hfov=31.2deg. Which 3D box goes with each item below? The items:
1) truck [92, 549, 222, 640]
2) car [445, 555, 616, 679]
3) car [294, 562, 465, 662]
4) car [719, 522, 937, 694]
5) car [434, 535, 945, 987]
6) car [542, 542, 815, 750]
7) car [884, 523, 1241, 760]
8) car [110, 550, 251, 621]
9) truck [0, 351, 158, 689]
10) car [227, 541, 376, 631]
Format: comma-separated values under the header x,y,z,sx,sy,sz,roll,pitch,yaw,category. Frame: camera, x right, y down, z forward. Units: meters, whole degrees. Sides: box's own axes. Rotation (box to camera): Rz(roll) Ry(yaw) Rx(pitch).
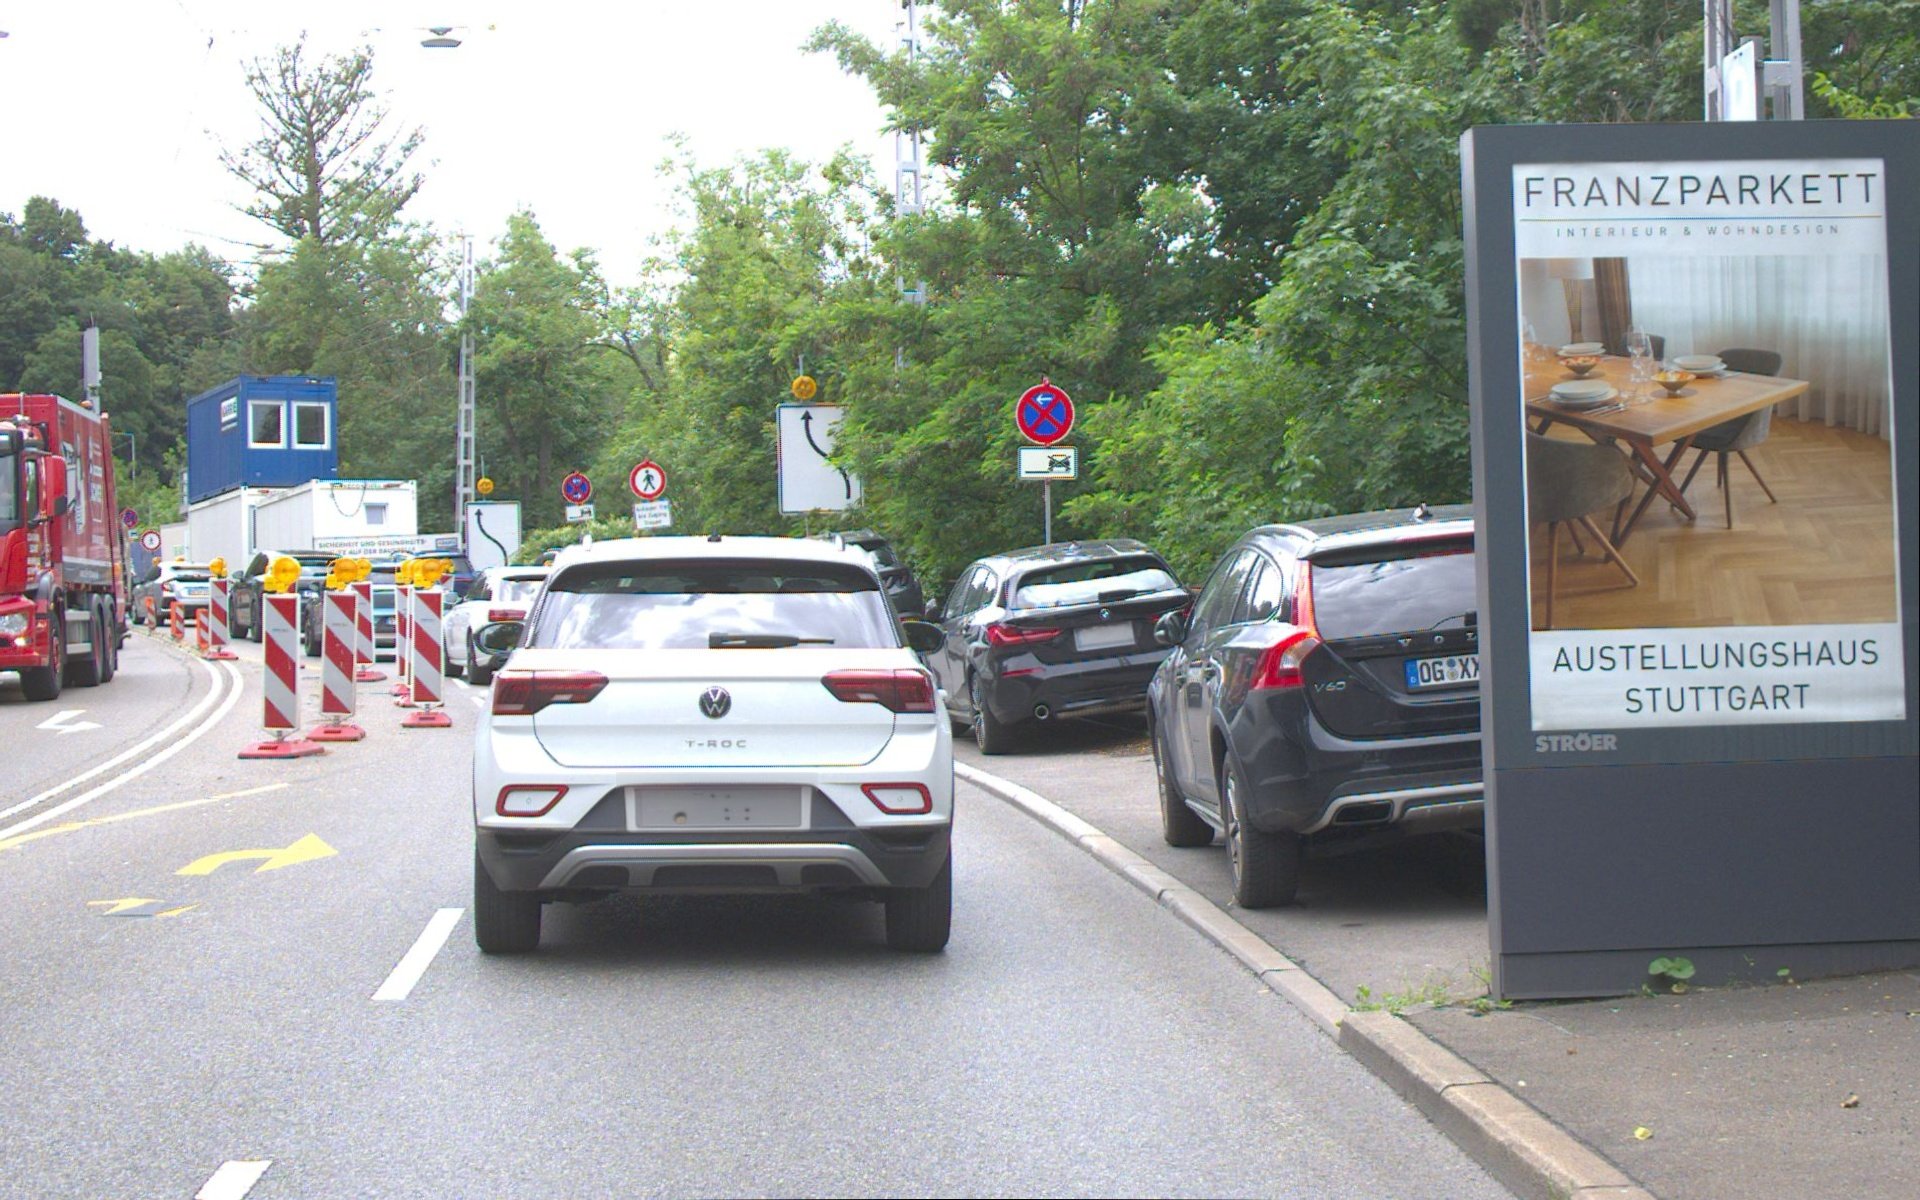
x,y,z,sx,sy,sz,roll,pitch,yaw,category
-13.638,-0.109,58.262,1.662,1.438,4.027,-2,1,-19,truck
-5.444,0.184,43.225,1.757,1.466,3.796,-1,1,-13,car
-9.063,0.207,53.417,1.993,1.409,4.151,-2,0,-18,car
-1.621,0.061,40.542,1.849,1.651,4.143,-9,2,-9,car
-0.971,0.536,13.818,1.757,1.550,3.796,-1,1,-1,car
-2.426,0.333,28.789,1.757,1.604,3.796,-1,1,-13,car
0.682,0.262,26.146,1.807,1.458,4.195,-6,2,-9,car
-17.249,-0.308,75.942,1.993,1.445,4.151,-2,0,-28,car
-12.060,-0.879,42.457,2.945,3.685,9.921,-3,1,-7,truck
-12.107,-0.291,63.021,1.993,1.551,4.152,-2,1,-20,car
